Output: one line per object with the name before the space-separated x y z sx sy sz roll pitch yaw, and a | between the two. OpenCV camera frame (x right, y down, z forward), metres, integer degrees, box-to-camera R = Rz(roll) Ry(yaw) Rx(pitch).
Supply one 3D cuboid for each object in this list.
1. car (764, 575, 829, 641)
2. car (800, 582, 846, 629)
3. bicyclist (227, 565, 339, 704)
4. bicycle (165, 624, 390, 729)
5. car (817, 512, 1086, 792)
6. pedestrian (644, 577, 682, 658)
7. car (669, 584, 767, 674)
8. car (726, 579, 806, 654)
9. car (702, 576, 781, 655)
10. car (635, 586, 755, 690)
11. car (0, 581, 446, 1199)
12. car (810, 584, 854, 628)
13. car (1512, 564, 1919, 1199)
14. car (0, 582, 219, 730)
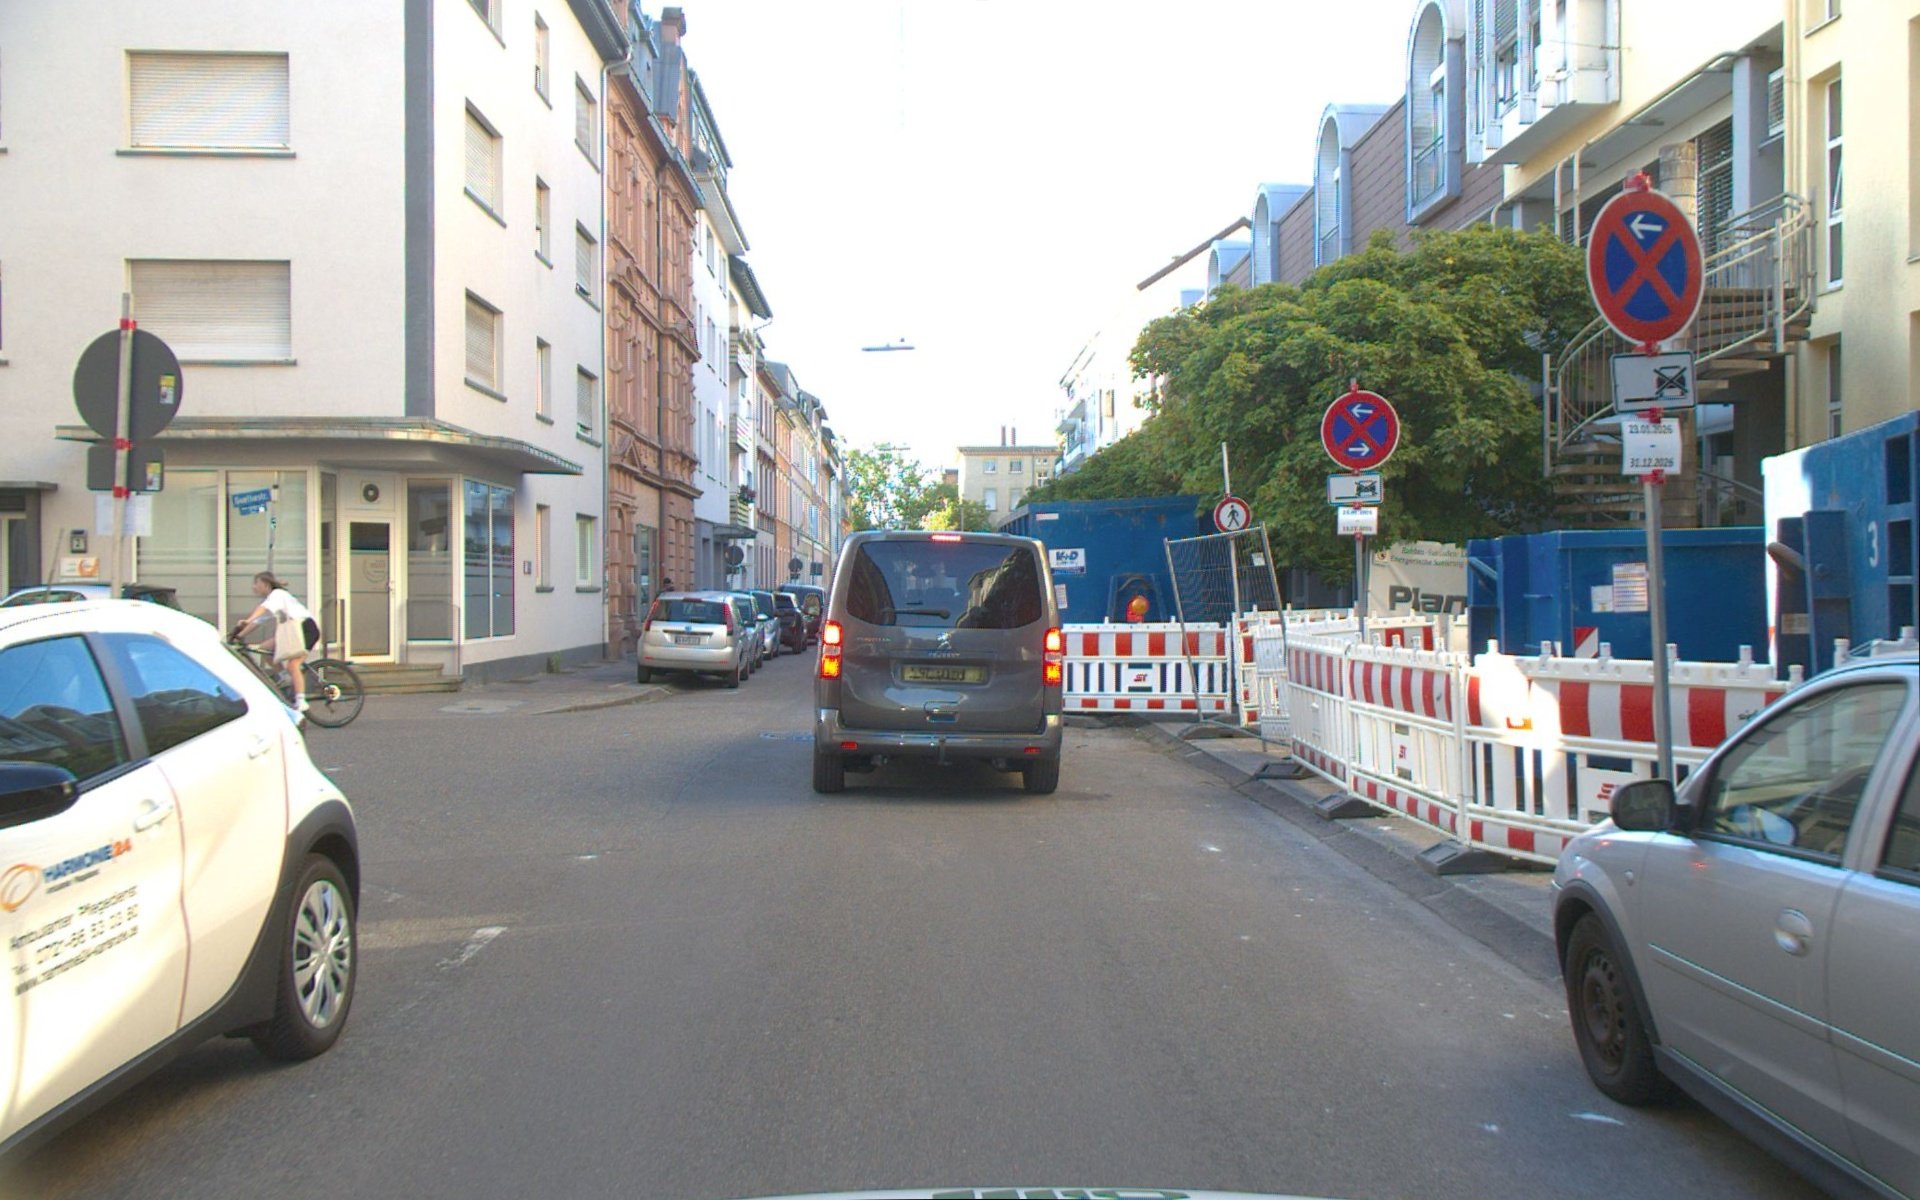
car | -5.192 0.256 52.728 1.855 1.878 4.344 4 -1 -5
car | -6.055 0.258 72.886 1.855 1.878 4.344 4 -1 -5
bicyclist | -7.235 0.359 17.673 0.930 1.437 0.726 1 0 -37
bicycle | -7.264 0.796 17.657 2.092 1.045 0.725 1 0 -37
car | -0.231 0.375 13.526 1.829 1.919 4.230 1 0 -5
pedestrian | -6.296 0.365 35.120 0.725 1.693 0.703 0 0 -6
car | -4.724 0.548 32.627 1.624 1.552 3.414 4 -1 -5
car | -5.043 0.430 43.360 1.855 1.749 3.749 4 -1 -5
car | -5.215 0.374 39.718 1.634 1.694 3.088 4 -1 -5
car | -4.313 0.600 27.313 1.624 1.485 3.414 4 -1 -5
car | -2.926 0.762 4.264 1.882 1.533 4.266 -2 1 -1
car | -6.058 0.287 77.811 1.855 1.878 4.344 4 -1 -5
car | 2.697 0.657 3.774 1.642 1.501 3.730 -2 0 1
car | -10.130 0.596 18.732 2.730 1.567 1.593 1 0 -2
